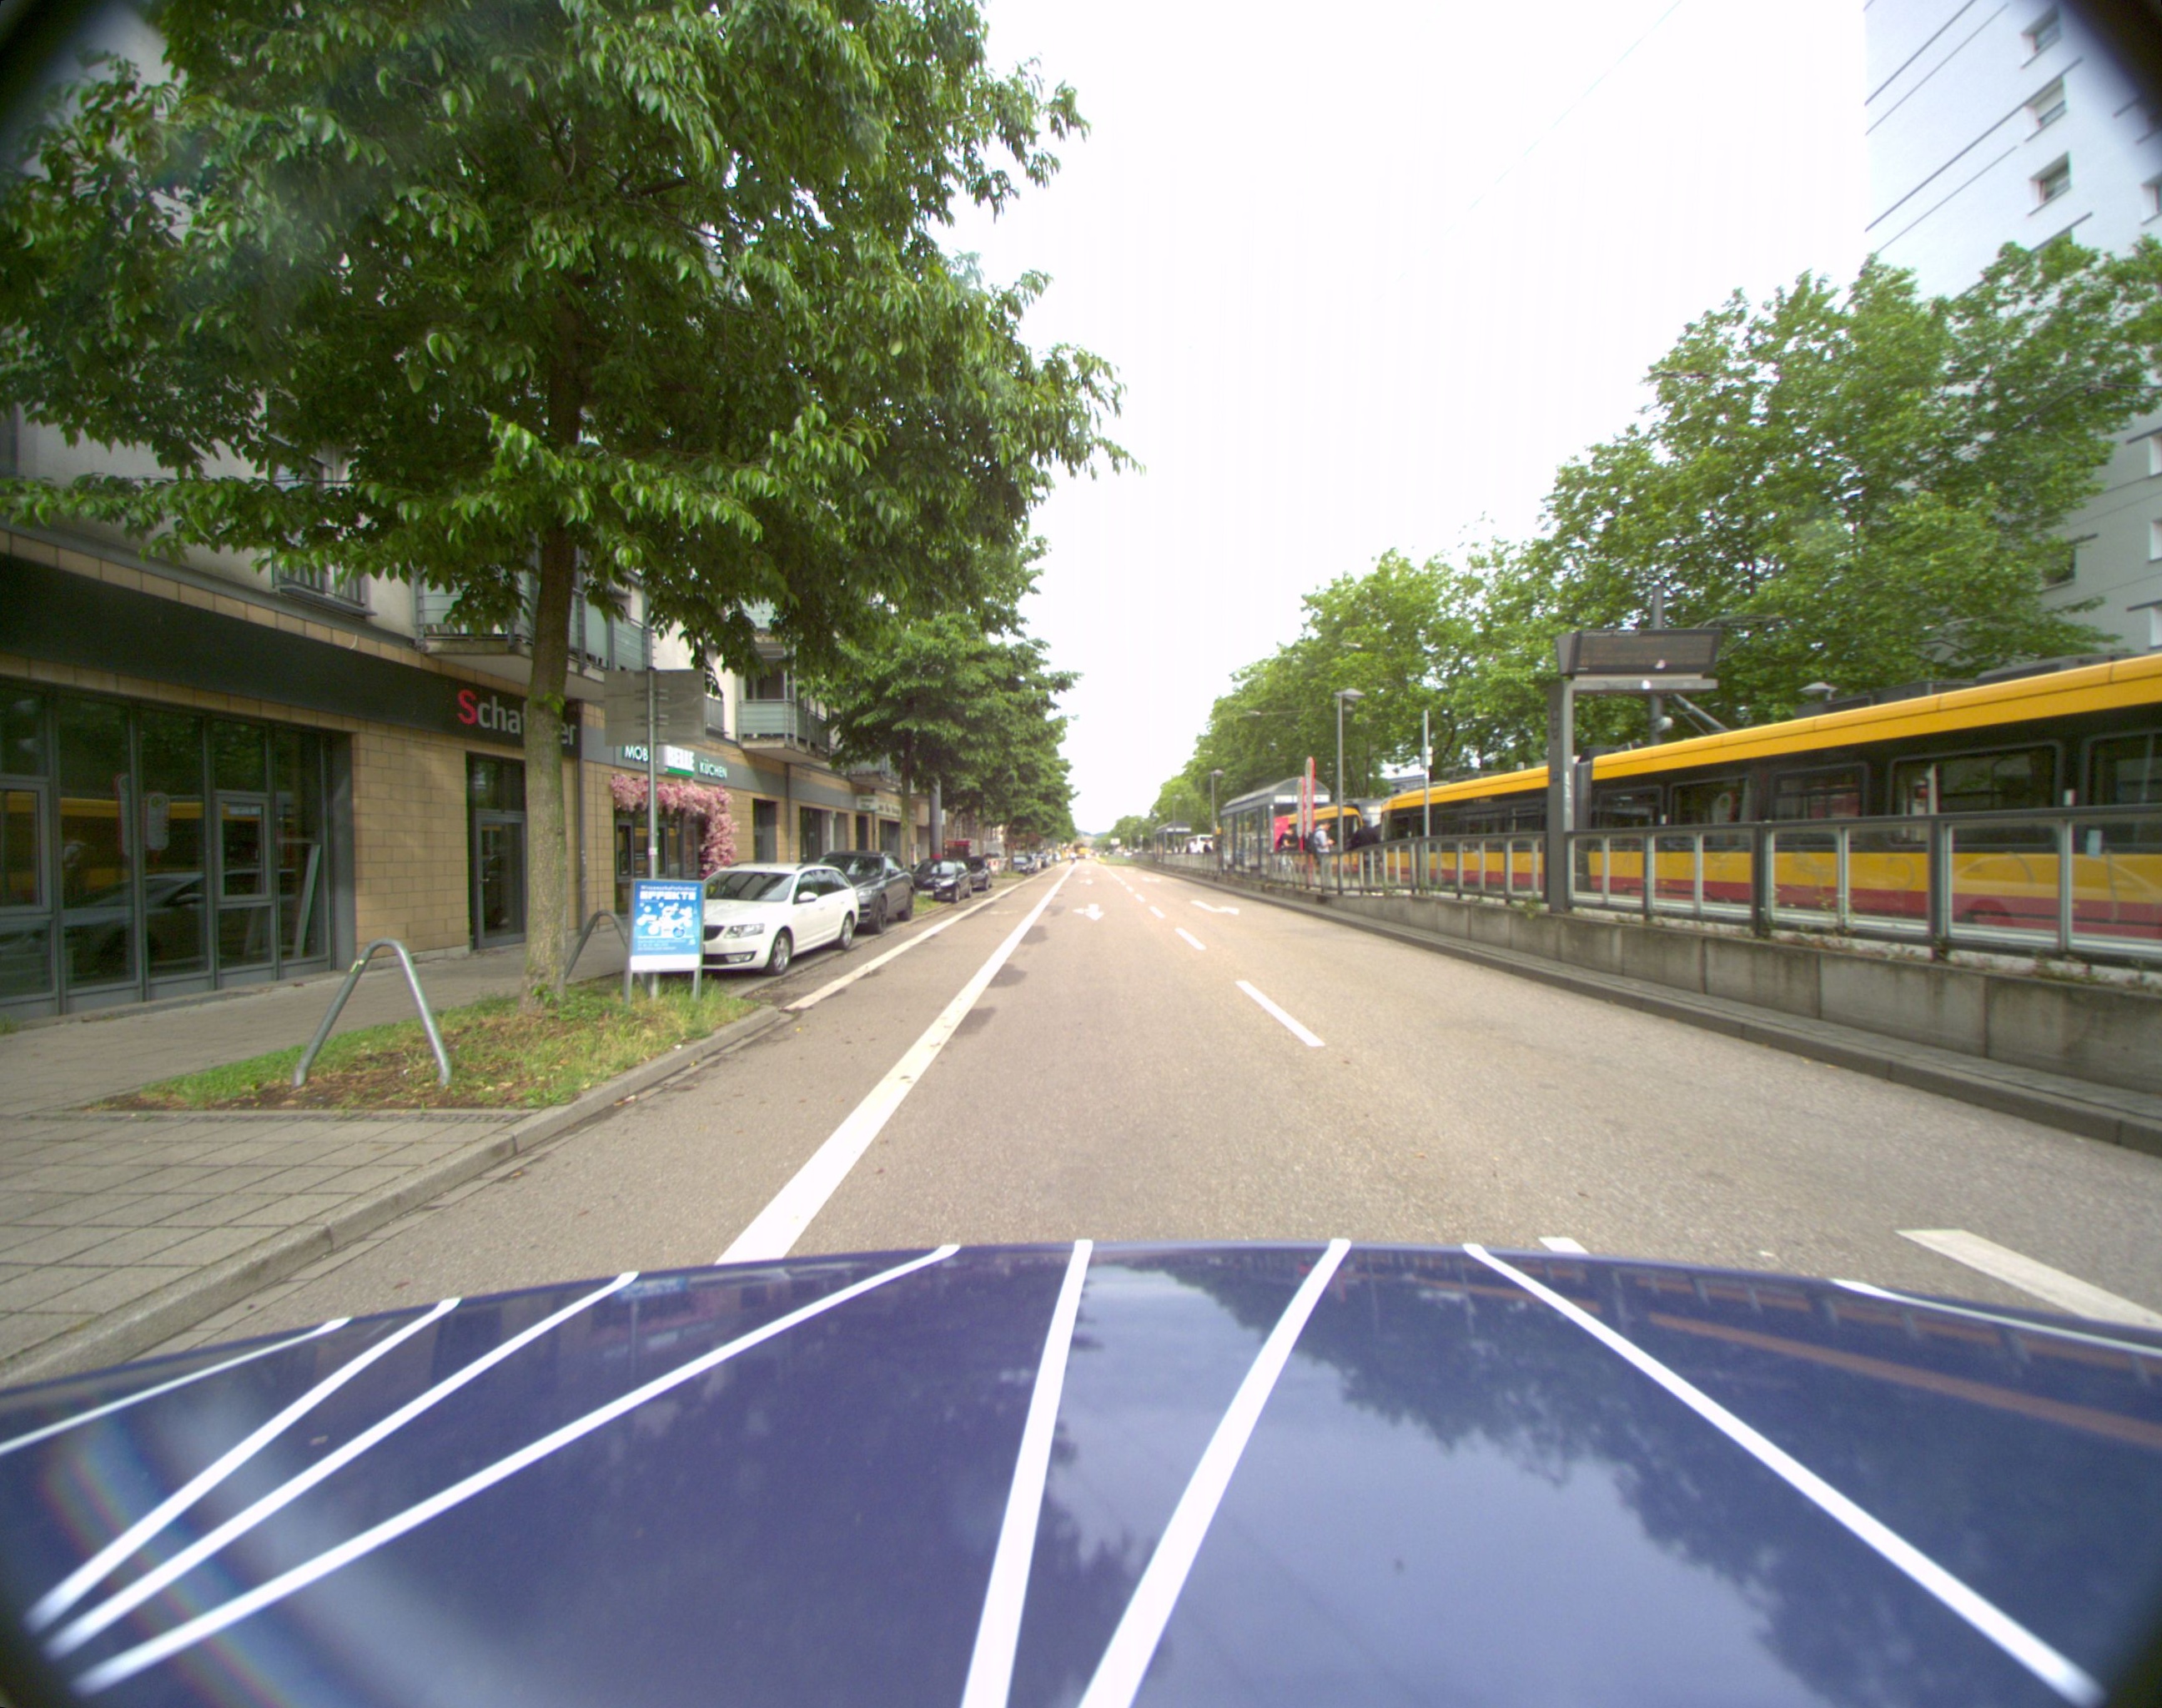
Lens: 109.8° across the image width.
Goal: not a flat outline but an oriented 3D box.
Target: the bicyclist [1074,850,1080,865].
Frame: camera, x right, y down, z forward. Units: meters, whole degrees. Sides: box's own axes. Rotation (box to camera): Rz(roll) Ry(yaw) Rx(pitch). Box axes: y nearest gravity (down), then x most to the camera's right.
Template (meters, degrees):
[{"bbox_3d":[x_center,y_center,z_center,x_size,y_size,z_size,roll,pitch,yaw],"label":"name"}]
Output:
[{"bbox_3d":[-0.486,0.405,94.574,0.751,1.777,0.838,-2,1,1],"label":"bicyclist"}]

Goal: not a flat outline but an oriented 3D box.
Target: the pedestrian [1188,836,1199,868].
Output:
[{"bbox_3d":[5.878,-0.113,39.735,0.480,1.623,0.392,-2,1,2],"label":"pedestrian"}]

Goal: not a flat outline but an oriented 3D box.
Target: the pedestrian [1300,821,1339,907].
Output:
[{"bbox_3d":[5.692,0.228,18.102,0.753,2.002,0.819,-2,1,24],"label":"pedestrian"}]

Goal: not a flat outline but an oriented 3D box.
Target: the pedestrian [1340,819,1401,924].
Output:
[{"bbox_3d":[5.759,0.330,15.121,0.756,2.002,0.816,-3,1,-36],"label":"pedestrian"}]

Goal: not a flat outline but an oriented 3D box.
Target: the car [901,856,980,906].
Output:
[{"bbox_3d":[-4.653,0.843,25.740,1.680,1.433,4.408,2,1,2],"label":"car"}]

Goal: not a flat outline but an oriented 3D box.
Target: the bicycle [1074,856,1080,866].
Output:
[{"bbox_3d":[-0.482,0.882,94.572,0.613,1.116,2.050,-2,1,1],"label":"bicycle"}]

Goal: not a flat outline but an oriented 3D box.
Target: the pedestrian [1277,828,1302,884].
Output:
[{"bbox_3d":[6.194,0.055,22.593,0.532,1.623,0.471,-2,1,-2],"label":"pedestrian"}]

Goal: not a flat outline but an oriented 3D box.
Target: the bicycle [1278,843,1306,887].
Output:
[{"bbox_3d":[5.989,0.299,21.595,0.420,1.215,1.289,-2,1,0],"label":"bicycle"}]

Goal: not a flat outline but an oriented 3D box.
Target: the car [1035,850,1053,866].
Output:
[{"bbox_3d":[-4.161,0.450,86.485,1.837,1.686,3.762,1,1,0],"label":"car"}]

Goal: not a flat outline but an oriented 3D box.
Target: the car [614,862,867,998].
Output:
[{"bbox_3d":[-4.740,0.942,11.371,1.680,1.490,4.390,2,1,2],"label":"car"}]

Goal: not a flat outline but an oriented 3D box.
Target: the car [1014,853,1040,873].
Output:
[{"bbox_3d":[-4.301,0.677,60.766,1.755,1.452,4.279,1,1,0],"label":"car"}]

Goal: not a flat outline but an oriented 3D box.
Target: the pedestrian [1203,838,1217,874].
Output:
[{"bbox_3d":[5.942,0.066,35.056,0.513,1.623,0.730,-2,1,2],"label":"pedestrian"}]

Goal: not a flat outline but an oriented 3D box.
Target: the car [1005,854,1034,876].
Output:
[{"bbox_3d":[-4.388,0.783,54.889,1.755,1.452,4.279,1,1,0],"label":"car"}]

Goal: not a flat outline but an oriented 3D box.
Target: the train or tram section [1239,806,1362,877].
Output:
[{"bbox_3d":[12.961,-0.734,47.017,3.067,3.511,15.769,-2,1,1],"label":"train or tram section"}]

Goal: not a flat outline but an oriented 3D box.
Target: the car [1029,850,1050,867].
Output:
[{"bbox_3d":[-4.157,0.431,77.193,1.837,1.720,4.279,1,1,0],"label":"car"}]

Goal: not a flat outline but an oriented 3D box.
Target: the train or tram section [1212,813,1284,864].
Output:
[{"bbox_3d":[13.152,-1.199,61.168,3.100,3.541,12.537,-2,1,1],"label":"train or tram section"}]

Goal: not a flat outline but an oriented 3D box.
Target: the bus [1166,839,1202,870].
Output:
[{"bbox_3d":[7.292,0.007,54.045,1.998,2.002,3.999,-2,1,1],"label":"bus"}]

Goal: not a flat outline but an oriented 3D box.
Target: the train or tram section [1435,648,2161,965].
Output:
[{"bbox_3d":[12.599,-0.652,16.180,3.067,3.511,15.293,-2,1,1],"label":"train or tram section"}]

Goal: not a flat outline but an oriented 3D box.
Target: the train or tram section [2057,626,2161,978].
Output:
[{"bbox_3d":[12.424,-0.491,0.598,3.067,3.568,15.847,-2,1,1],"label":"train or tram section"}]

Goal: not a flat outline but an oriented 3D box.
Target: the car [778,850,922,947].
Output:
[{"bbox_3d":[-4.775,0.816,16.467,1.716,1.707,4.710,2,1,-1],"label":"car"}]

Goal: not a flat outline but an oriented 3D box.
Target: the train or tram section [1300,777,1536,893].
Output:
[{"bbox_3d":[12.789,-0.678,31.492,3.067,3.511,15.293,-2,1,1],"label":"train or tram section"}]

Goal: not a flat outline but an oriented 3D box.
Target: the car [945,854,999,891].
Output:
[{"bbox_3d":[-4.744,0.763,33.494,1.802,1.447,4.387,2,1,-1],"label":"car"}]
